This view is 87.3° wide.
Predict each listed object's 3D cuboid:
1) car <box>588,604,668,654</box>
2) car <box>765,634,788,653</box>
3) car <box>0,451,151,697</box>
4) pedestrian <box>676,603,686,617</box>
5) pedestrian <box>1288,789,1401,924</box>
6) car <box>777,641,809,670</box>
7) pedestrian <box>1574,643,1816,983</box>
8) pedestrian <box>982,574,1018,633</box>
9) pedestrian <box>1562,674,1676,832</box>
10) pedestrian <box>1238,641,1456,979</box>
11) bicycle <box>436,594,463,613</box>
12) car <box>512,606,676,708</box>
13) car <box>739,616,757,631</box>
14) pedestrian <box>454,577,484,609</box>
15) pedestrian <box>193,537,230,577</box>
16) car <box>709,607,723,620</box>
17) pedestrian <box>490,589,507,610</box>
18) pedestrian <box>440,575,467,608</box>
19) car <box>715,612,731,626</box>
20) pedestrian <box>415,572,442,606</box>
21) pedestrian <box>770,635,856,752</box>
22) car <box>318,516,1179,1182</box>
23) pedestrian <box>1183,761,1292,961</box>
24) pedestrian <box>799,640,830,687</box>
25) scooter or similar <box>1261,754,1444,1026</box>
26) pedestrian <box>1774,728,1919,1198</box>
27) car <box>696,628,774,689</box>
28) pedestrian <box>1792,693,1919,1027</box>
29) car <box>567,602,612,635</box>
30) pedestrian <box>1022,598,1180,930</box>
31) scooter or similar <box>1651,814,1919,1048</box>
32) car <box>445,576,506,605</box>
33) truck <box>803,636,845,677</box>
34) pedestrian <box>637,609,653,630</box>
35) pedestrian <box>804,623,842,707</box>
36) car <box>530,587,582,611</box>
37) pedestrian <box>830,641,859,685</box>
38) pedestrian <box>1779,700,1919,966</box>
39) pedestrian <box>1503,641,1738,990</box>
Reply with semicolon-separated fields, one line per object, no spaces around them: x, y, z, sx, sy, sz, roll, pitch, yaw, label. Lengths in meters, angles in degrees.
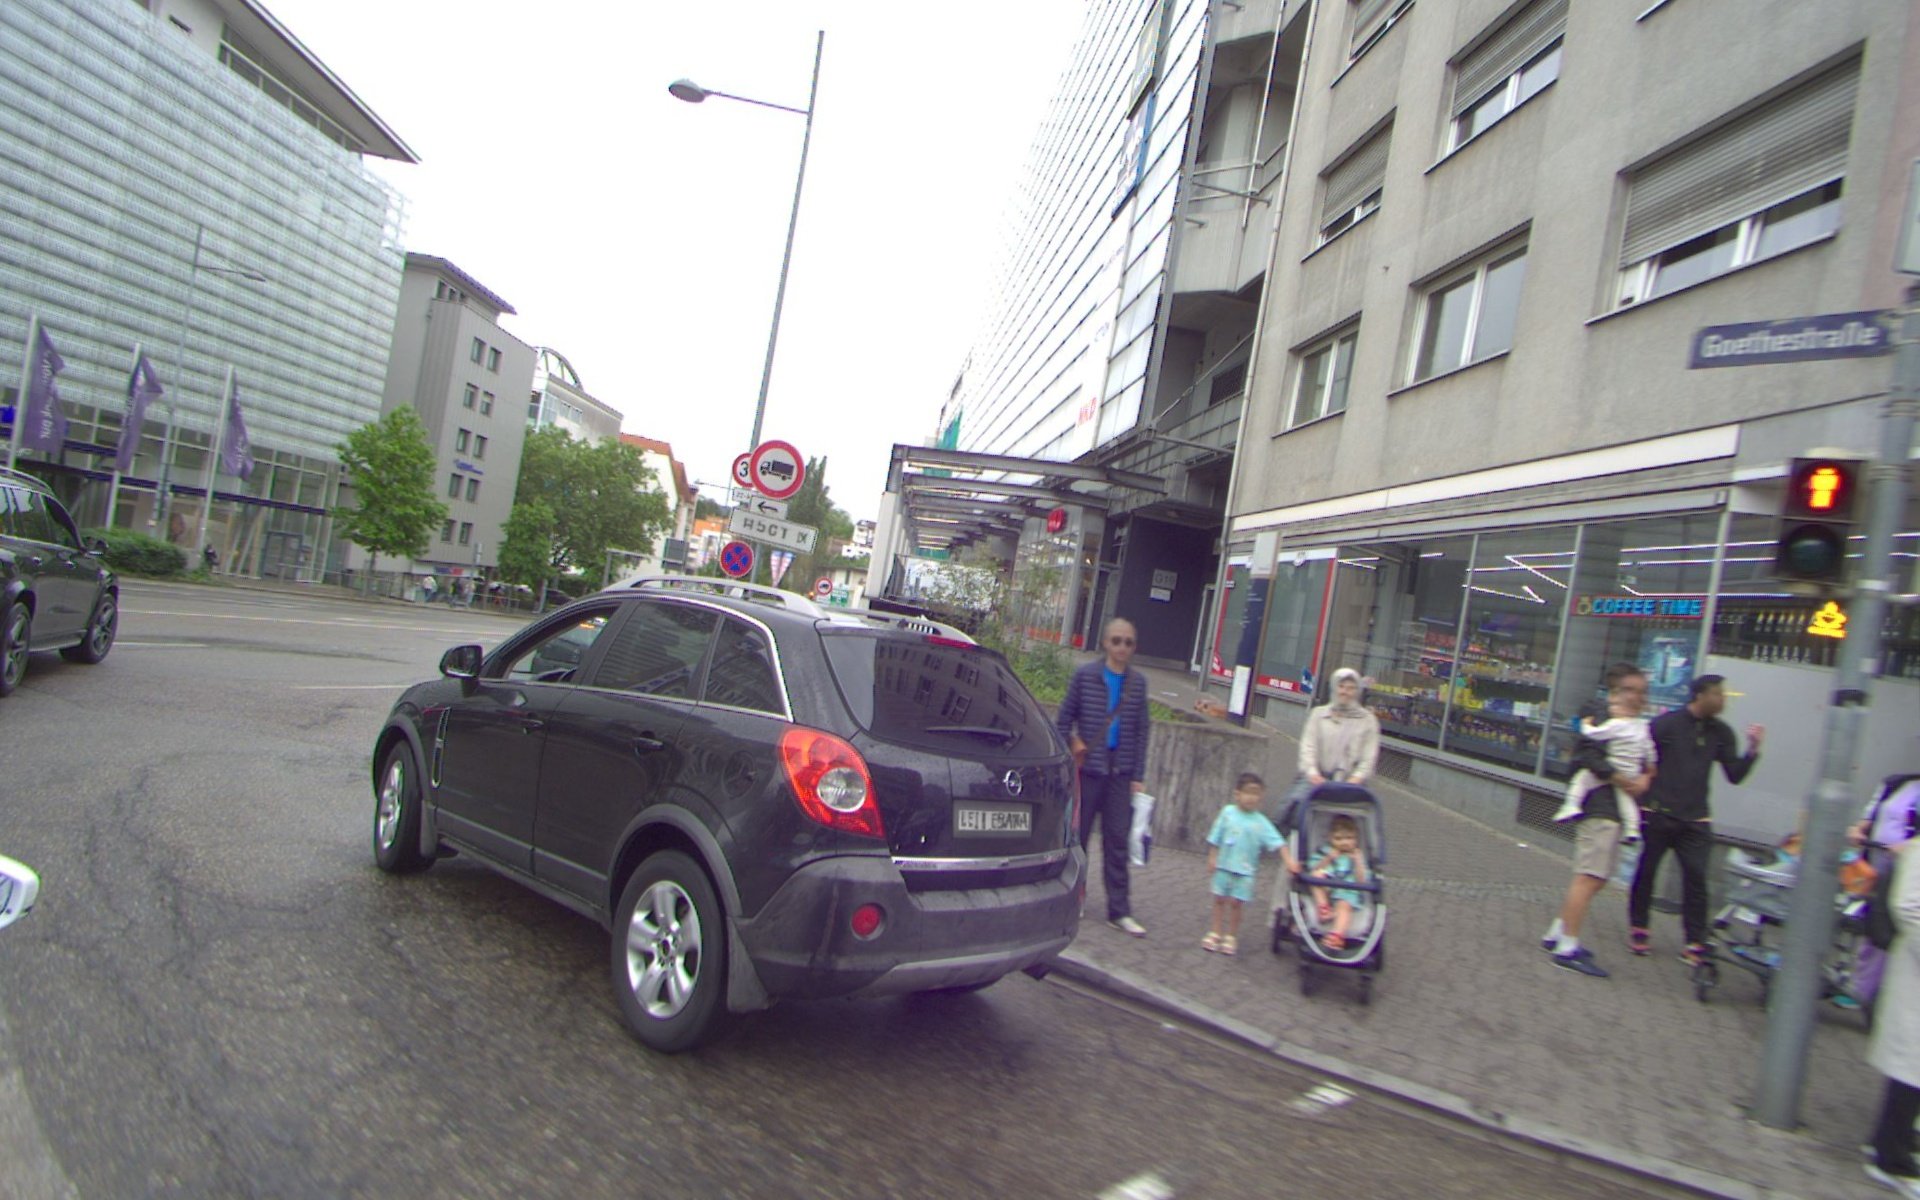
-13.204;1.192;40.263;1.923;1.590;4.002;11;-3;-4;car
-17.733;4.213;97.509;1.770;1.483;3.999;11;-3;-7;car
-9.015;-0.378;8.799;2.075;1.835;4.757;11;-4;-30;car
-35.733;1.249;128.863;0.556;1.625;0.922;6;-3;45;pedestrian
2.084;1.385;5.489;0.450;0.578;0.372;8;1;13;pedestrian
-11.449;3.795;69.053;1.737;1.559;3.997;11;-2;-7;car
4.695;1.305;6.497;0.718;1.955;0.820;7;1;2;pedestrian
1.232;0.110;31.188;0.813;1.706;0.598;9;-2;-4;pedestrian
3.927;0.905;6.005;0.433;0.856;0.221;8;-2;14;pedestrian
2.284;1.182;6.109;0.822;1.744;1.039;8;1;10;pedestrian
-36.362;0.271;71.713;0.603;1.097;2.672;10;-4;-4;bicycle
-6.763;1.060;19.045;1.693;1.434;3.772;11;-3;-3;car
-26.847;2.936;127.413;1.797;1.565;3.998;11;-3;-8;car
-30.069;-0.410;61.622;0.958;1.741;1.091;9;-2;3;pedestrian
-30.963;-1.779;41.623;0.642;1.472;0.846;9;-2;3;pedestrian
-38.006;2.113;156.781;1.757;1.565;3.991;11;-3;-14;car
-41.629;-0.043;90.789;0.745;1.741;0.953;8;-2;9;pedestrian
-28.511;-0.462;56.629;0.805;1.731;1.311;9;-2;-11;pedestrian
-29.737;2.372;126.260;1.686;1.466;3.856;11;-3;-11;car
-29.782;-0.603;56.424;0.983;1.741;1.034;10;-2;-22;pedestrian
-2.177;1.349;14.806;1.041;1.549;1.026;7;-1;-11;pedestrian
-1.355;0.765;5.133;4.240;1.805;1.908;8;-3;41;car
1.598;1.488;5.798;0.463;1.013;0.261;8;4;16;pedestrian
-4.840;2.125;33.506;0.734;1.453;0.598;7;-2;4;pedestrian
2.096;1.515;5.501;0.642;1.123;0.973;8;1;13;scooter or similar
3.947;1.405;3.978;0.823;1.660;0.539;5;3;-7;pedestrian
-7.478;1.913;33.744;1.924;1.590;3.999;11;-3;-7;car
5.556;1.470;5.815;0.606;1.744;0.838;6;1;2;pedestrian
-21.868;1.068;59.334;1.826;1.569;4.069;9;-3;-27;car
0.875;0.963;6.238;0.772;1.892;0.617;5;2;9;pedestrian
4.679;1.814;5.610;1.030;0.999;0.771;6;1;-7;scooter or similar
-48.667;-0.961;101.145;5.020;1.776;1.995;13;-4;-16;car
-8.396;3.440;62.345;2.155;2.104;5.602;11;-3;-7;truck
-31.387;1.967;100.328;1.047;1.902;0.839;9;-2;2;pedestrian
-3.252;1.526;23.889;0.591;1.861;1.011;9;-1;-6;pedestrian
-41.276;-0.085;102.921;4.544;1.497;1.937;13;-4;-16;car
-4.876;2.670;42.655;0.823;1.741;0.830;9;-2;5;pedestrian
6.441;1.596;6.942;0.823;1.659;0.616;6;4;-2;pedestrian
3.970;1.251;6.127;0.646;1.890;0.837;5;3;-2;pedestrian
